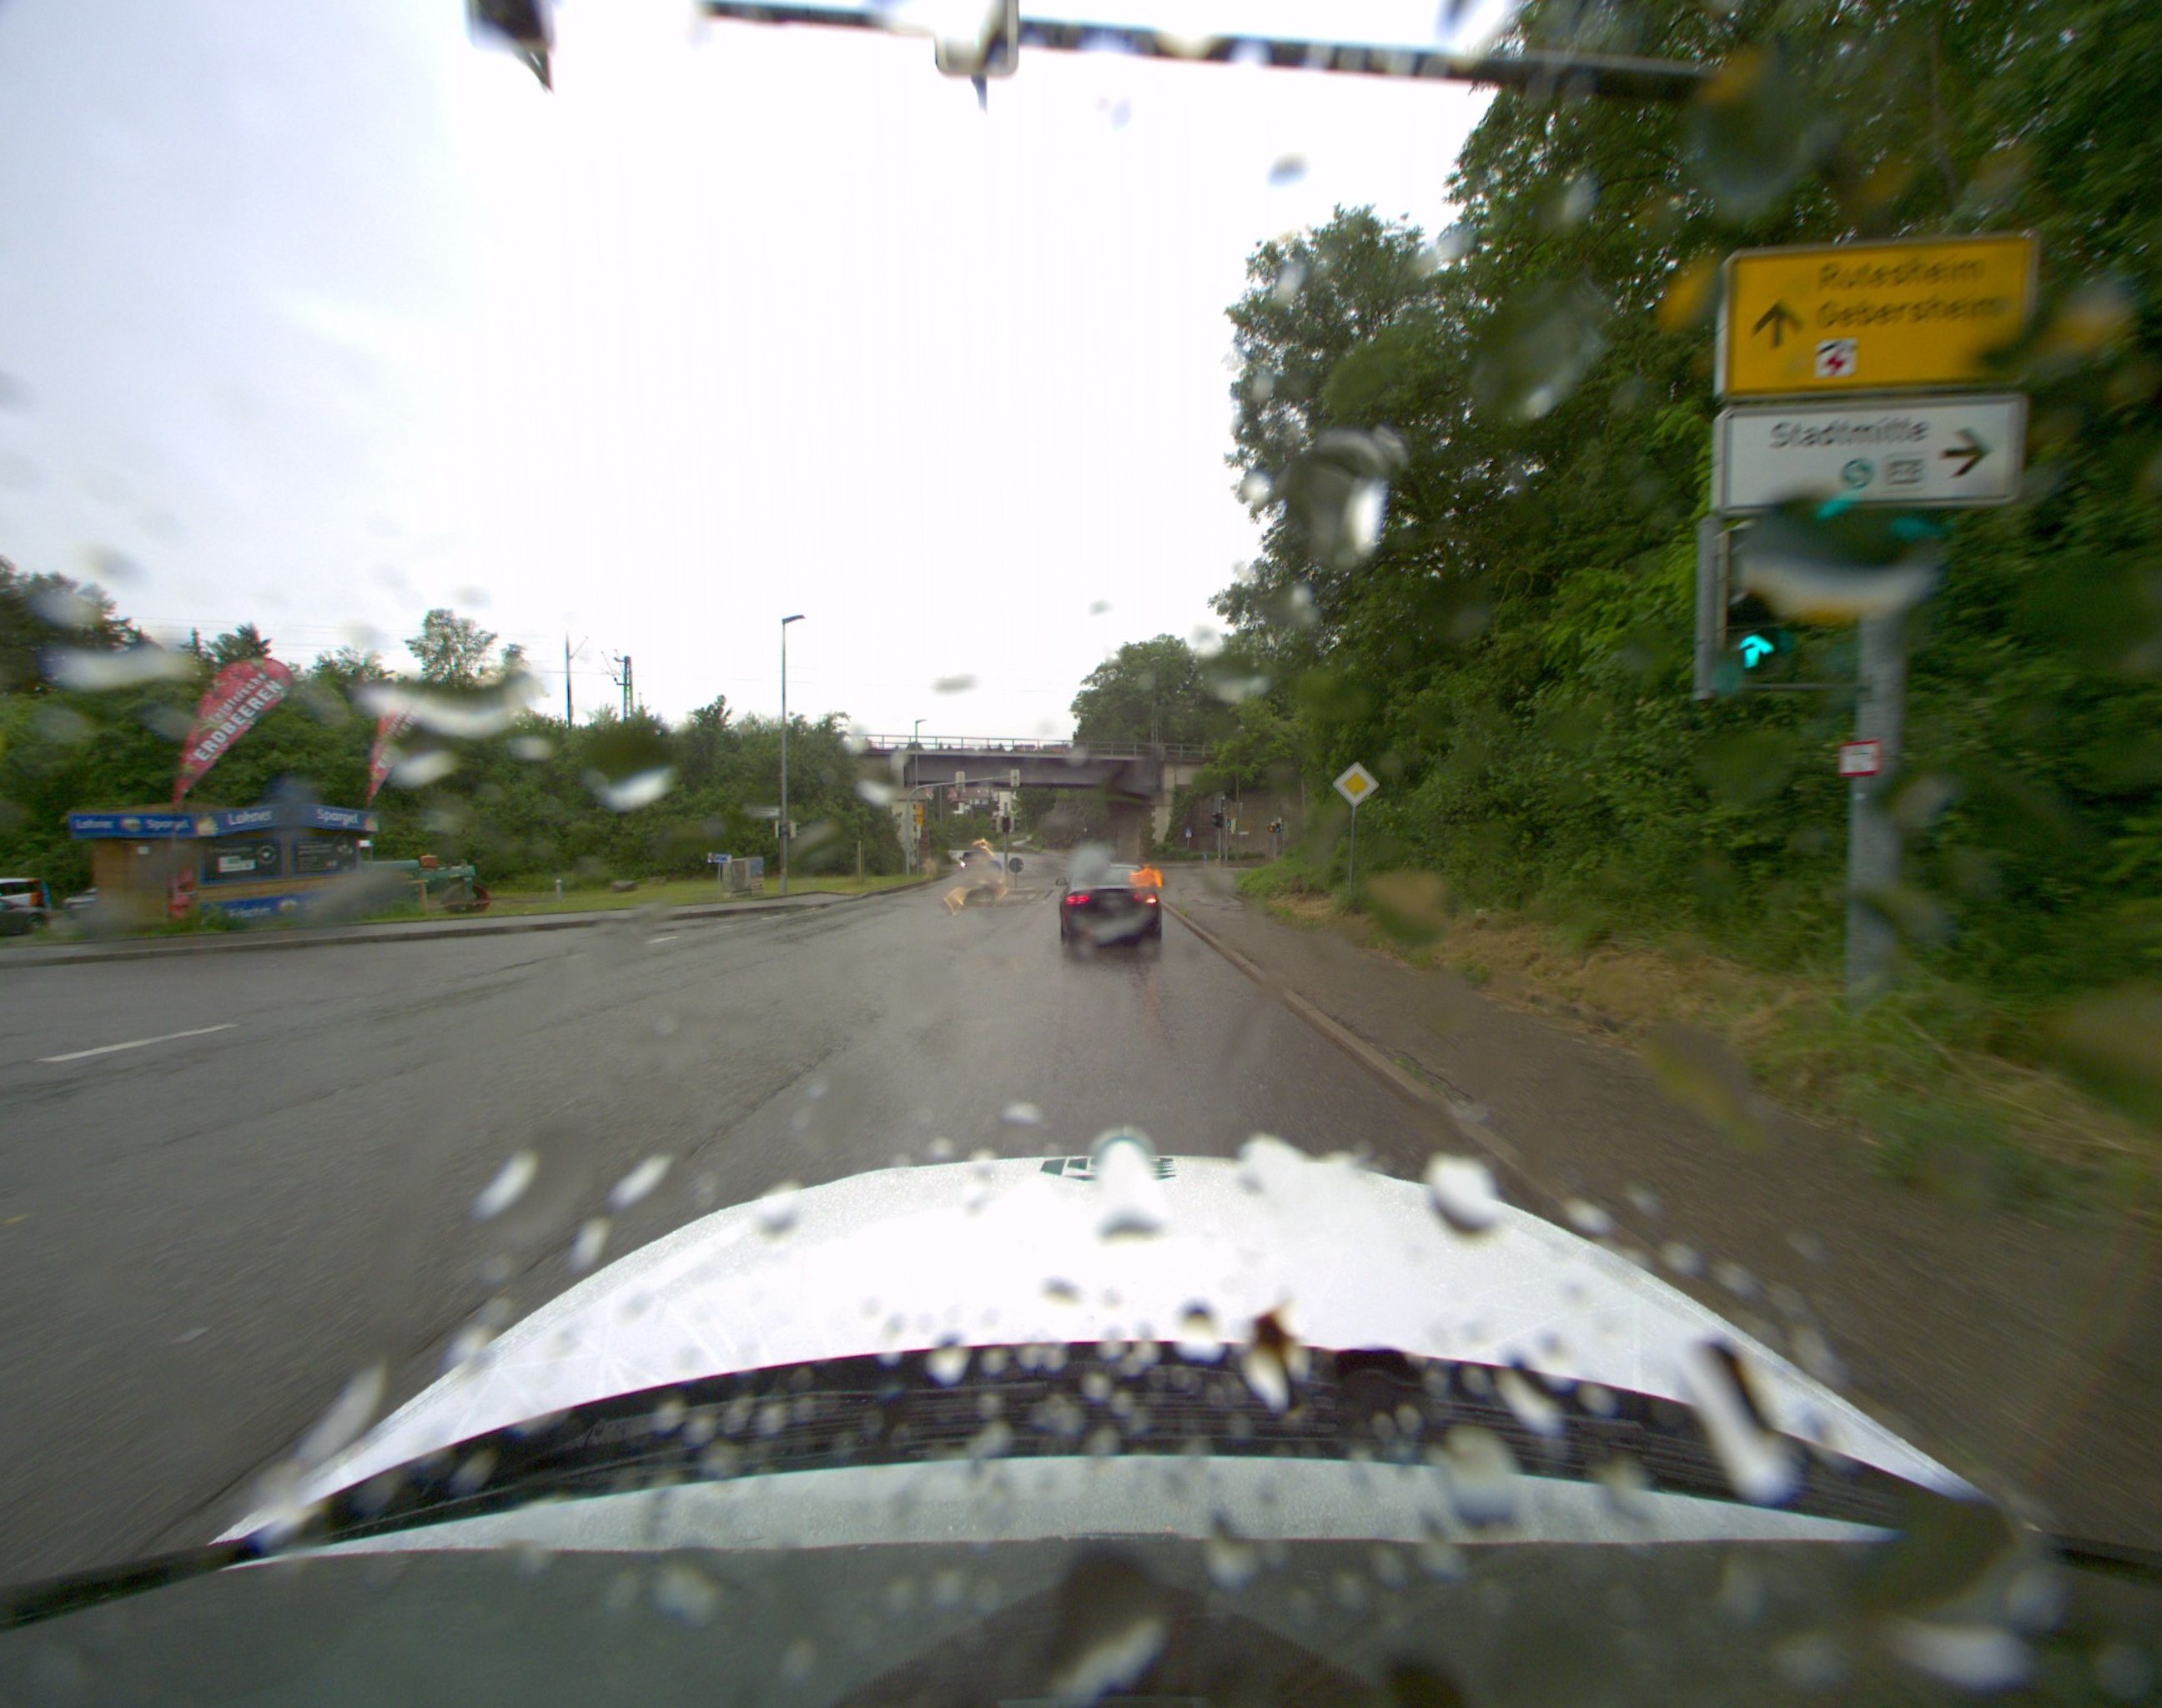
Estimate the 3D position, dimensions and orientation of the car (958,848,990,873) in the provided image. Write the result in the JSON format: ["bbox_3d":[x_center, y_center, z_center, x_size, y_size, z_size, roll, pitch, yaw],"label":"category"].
[{"bbox_3d":[-7.347,0.427,56.130,1.990,1.628,3.993,-2,0,-5],"label":"car"}]

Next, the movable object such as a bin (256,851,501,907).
[{"bbox_3d":[-23.005,0.783,26.902,2.716,1.628,5.816,-2,-2,41],"label":"movable object such as a bin"}]

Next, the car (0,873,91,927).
[{"bbox_3d":[-42.721,1.816,32.668,1.941,2.014,3.848,0,0,-15],"label":"car"}]

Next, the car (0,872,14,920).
[{"bbox_3d":[-45.320,1.753,31.987,1.995,2.013,3.983,-2,0,-12],"label":"car"}]

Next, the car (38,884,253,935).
[{"bbox_3d":[-28.379,1.627,25.007,1.652,1.340,4.883,-1,-1,-11],"label":"car"}]

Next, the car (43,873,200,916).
[{"bbox_3d":[-38.502,1.575,32.856,1.994,1.585,3.984,-1,-1,-11],"label":"car"}]

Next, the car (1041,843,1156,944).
[{"bbox_3d":[0.341,0.690,15.277,1.863,1.617,4.001,-1,-1,2],"label":"car"}]

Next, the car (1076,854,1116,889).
[{"bbox_3d":[0.730,0.829,39.315,1.816,1.585,4.001,-1,-1,2],"label":"car"}]
